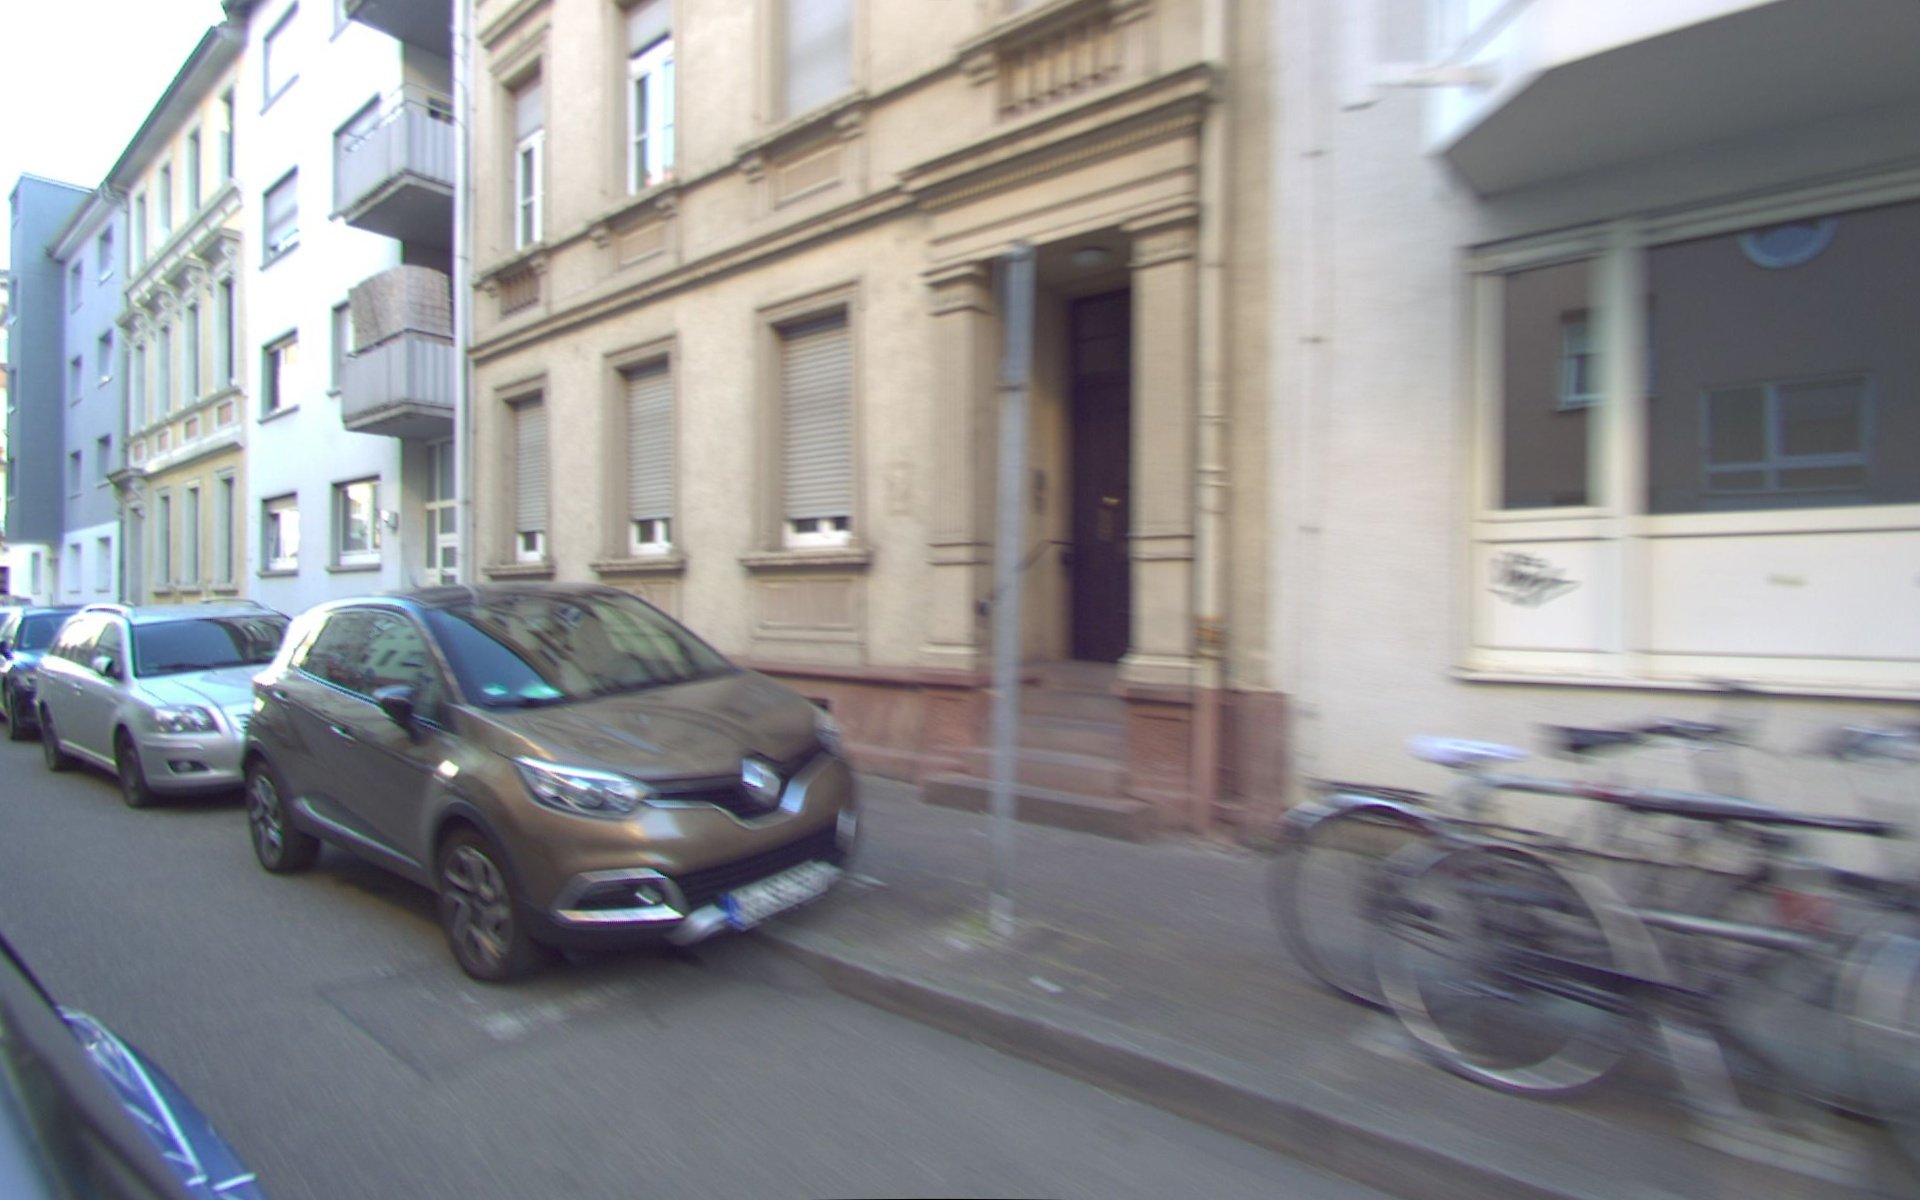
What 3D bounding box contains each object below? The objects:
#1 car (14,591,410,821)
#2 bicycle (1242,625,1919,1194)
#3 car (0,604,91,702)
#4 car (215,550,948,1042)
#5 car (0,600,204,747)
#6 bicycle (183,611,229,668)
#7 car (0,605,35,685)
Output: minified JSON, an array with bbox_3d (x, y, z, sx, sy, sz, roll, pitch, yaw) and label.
[{"bbox_3d":[-6.725,0.727,8.911,4.429,1.551,1.773,0,-1,39],"label":"car"},{"bbox_3d":[1.938,0.684,2.692,2.265,1.196,0.589,-1,0,42],"label":"bicycle"},{"bbox_3d":[-15.995,0.825,16.972,3.786,1.500,1.621,0,-1,41],"label":"car"},{"bbox_3d":[-2.178,0.646,5.253,4.066,1.588,1.773,0,-1,39],"label":"car"},{"bbox_3d":[-11.255,0.789,12.812,4.491,1.551,1.772,0,-1,41],"label":"car"},{"bbox_3d":[-14.133,0.725,18.956,1.541,1.016,0.289,0,-1,38],"label":"bicycle"},{"bbox_3d":[-19.824,0.862,20.255,3.954,1.500,1.620,0,-1,43],"label":"car"}]
